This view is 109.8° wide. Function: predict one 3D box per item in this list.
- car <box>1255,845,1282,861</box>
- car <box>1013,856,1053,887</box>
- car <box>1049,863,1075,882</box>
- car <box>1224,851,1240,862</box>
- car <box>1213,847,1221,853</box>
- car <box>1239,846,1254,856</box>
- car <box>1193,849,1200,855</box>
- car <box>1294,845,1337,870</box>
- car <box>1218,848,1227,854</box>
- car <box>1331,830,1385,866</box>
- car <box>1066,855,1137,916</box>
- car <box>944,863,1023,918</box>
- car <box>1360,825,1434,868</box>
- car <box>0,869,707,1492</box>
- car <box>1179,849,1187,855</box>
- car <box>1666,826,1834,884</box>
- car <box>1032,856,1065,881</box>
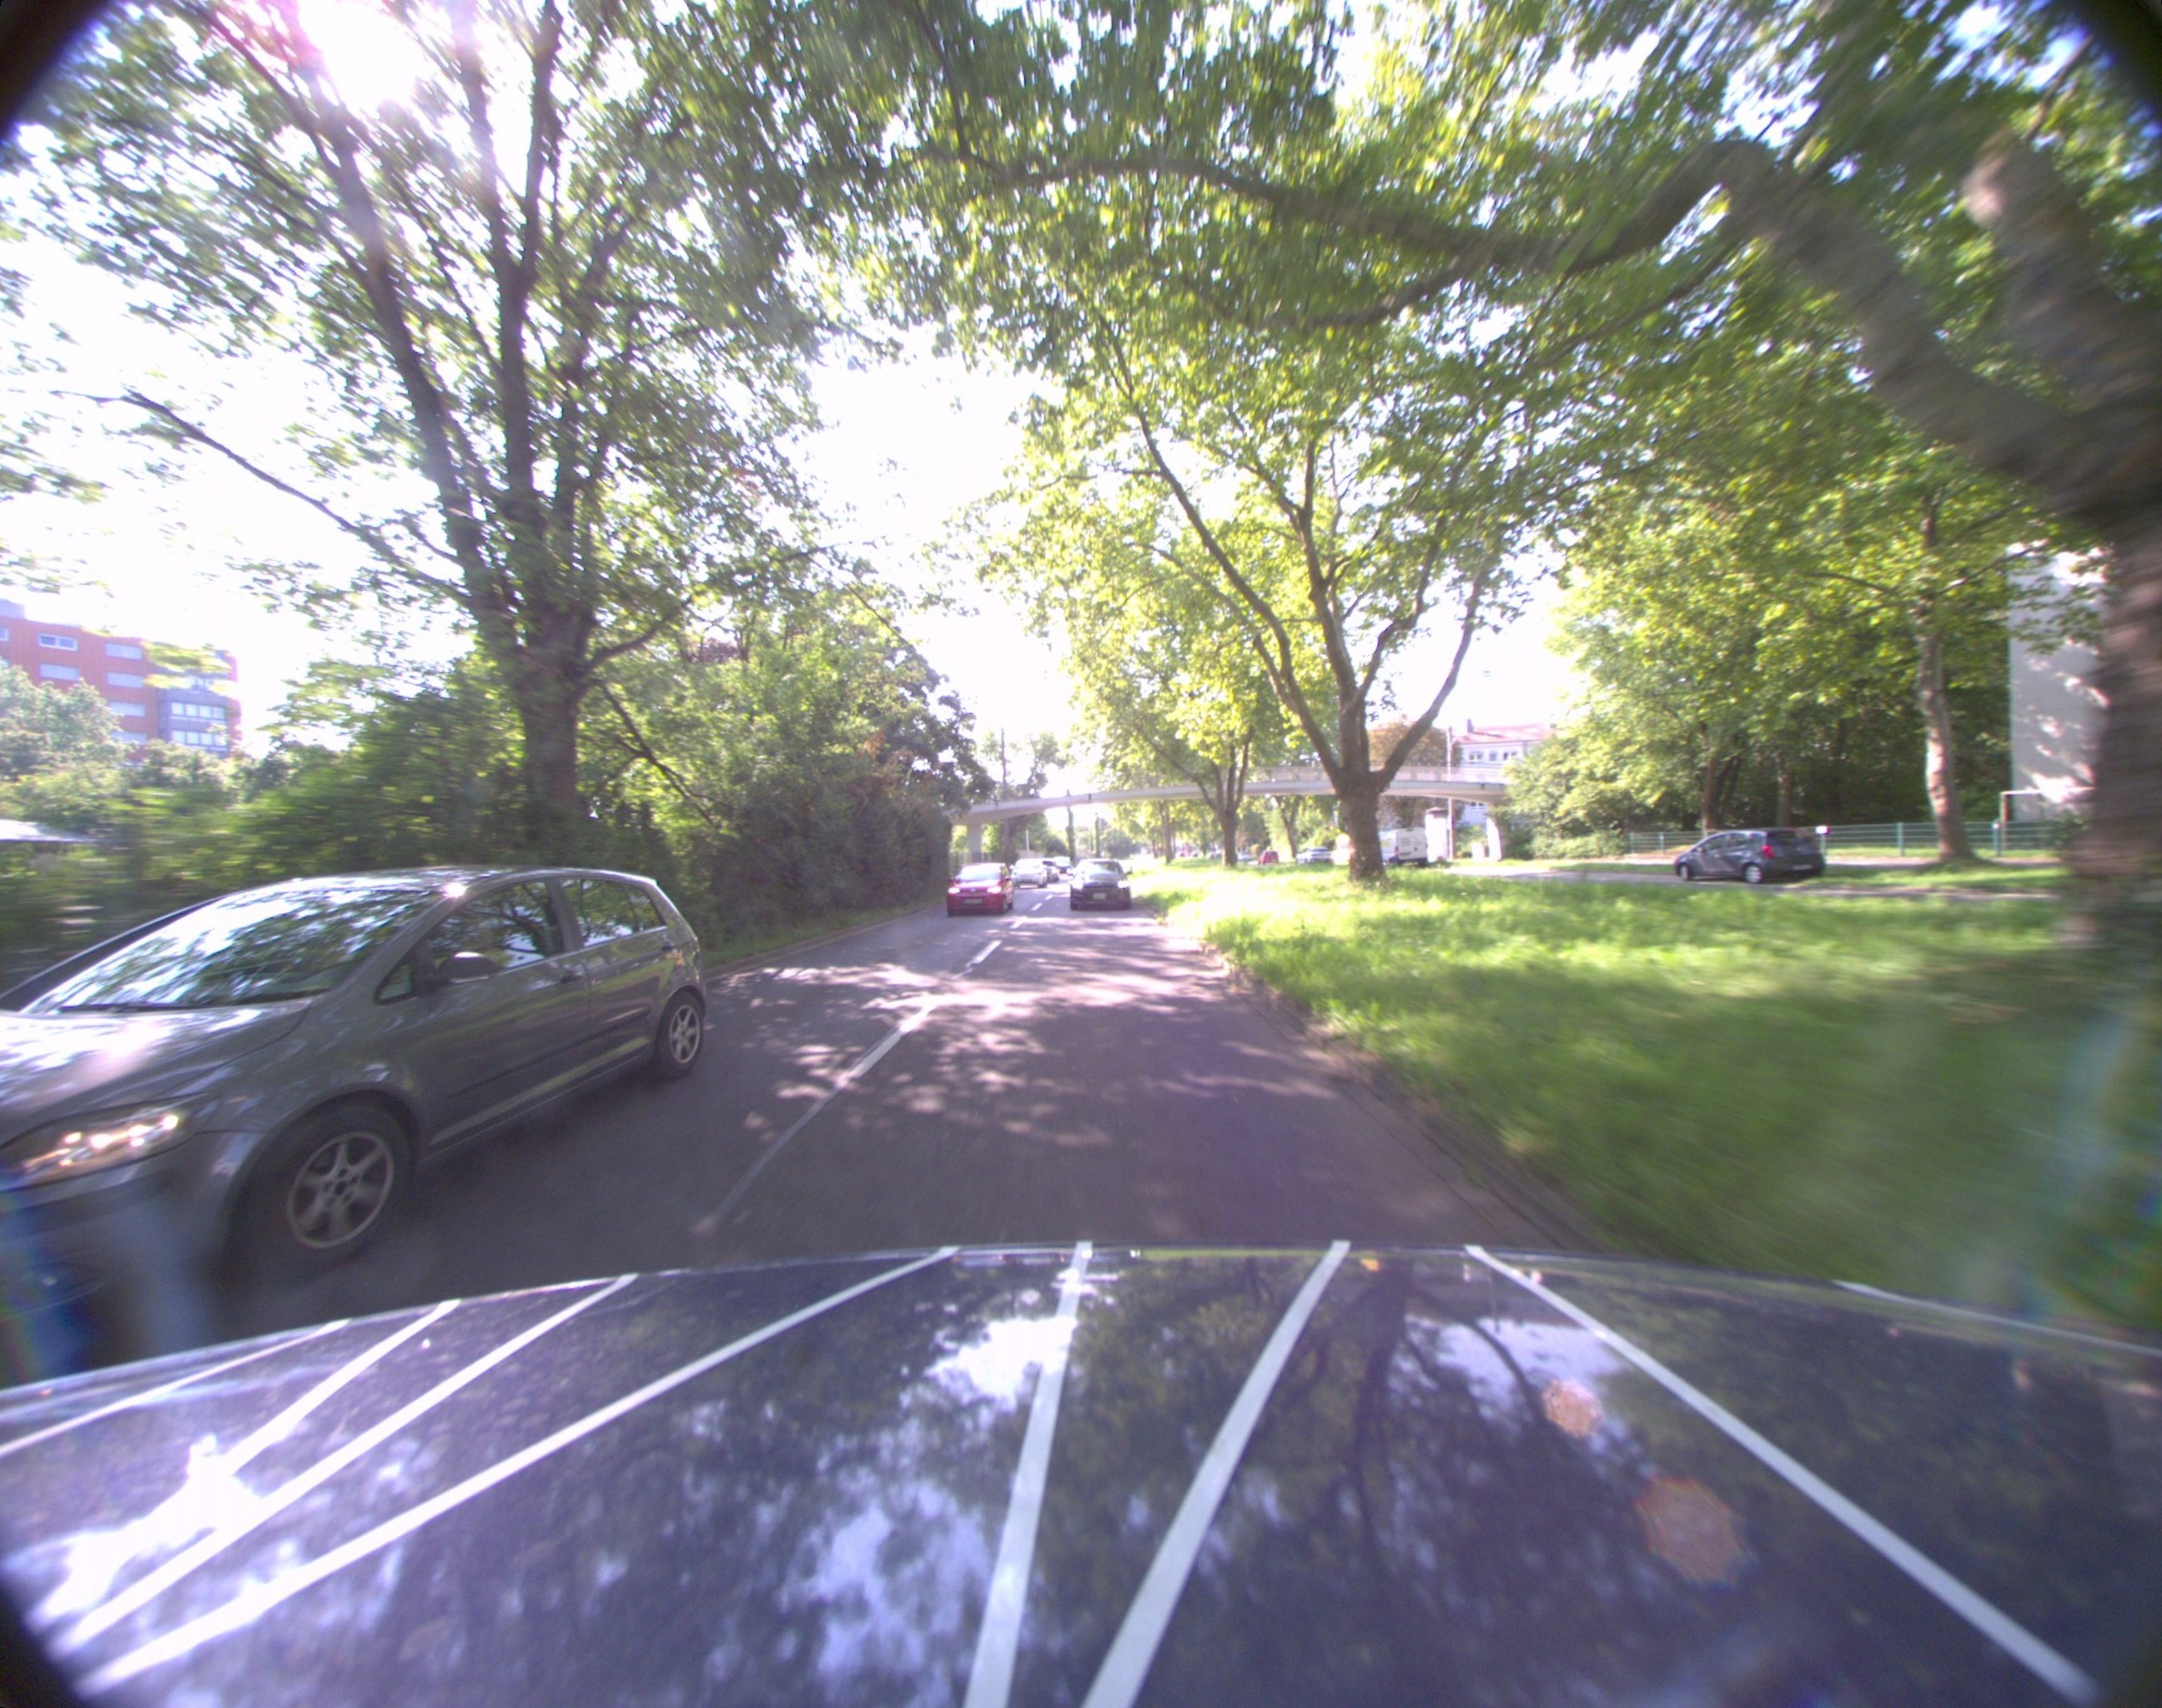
[{"bbox_3d":[18.988,-0.127,77.250,1.695,1.524,4.069,-2,0,0],"label":"car"},{"bbox_3d":[-2.552,0.925,41.084,1.649,1.467,3.899,-3,1,3],"label":"car"},{"bbox_3d":[-1.553,1.500,63.260,1.649,1.378,3.899,-3,1,5],"label":"car"},{"bbox_3d":[21.927,0.319,110.454,1.791,1.524,4.456,-3,1,4],"label":"car"},{"bbox_3d":[31.863,-0.850,177.672,1.612,1.284,3.524,-3,1,7],"label":"car"},{"bbox_3d":[25.563,-0.496,117.355,1.649,1.471,3.899,-3,1,5],"label":"car"},{"bbox_3d":[31.652,-0.550,208.396,1.649,1.356,3.900,-3,0,4],"label":"car"},{"bbox_3d":[17.358,0.262,56.511,1.806,1.709,4.720,-2,0,1],"label":"car"},{"bbox_3d":[30.924,-0.677,166.126,1.612,1.284,3.524,-3,1,7],"label":"car"},{"bbox_3d":[20.787,-0.490,57.255,2.212,2.465,6.062,-3,1,5],"label":"car"},{"bbox_3d":[0.520,0.860,22.508,1.863,1.572,3.611,-2,1,-2],"label":"car"},{"bbox_3d":[-2.838,1.028,22.763,1.578,1.390,3.472,-1,1,5],"label":"car"},{"bbox_3d":[20.273,-0.512,49.145,2.213,2.416,6.265,-5,1,2],"label":"car"},{"bbox_3d":[-3.744,0.951,3.884,1.649,1.547,3.898,-3,1,0],"label":"car"},{"bbox_3d":[28.615,-0.512,212.846,1.779,1.607,4.857,-3,1,5],"label":"car"},{"bbox_3d":[19.512,-0.003,22.402,1.526,1.524,3.863,-2,1,0],"label":"car"},{"bbox_3d":[-2.144,0.916,50.539,1.649,1.467,3.899,-3,1,5],"label":"car"}]
